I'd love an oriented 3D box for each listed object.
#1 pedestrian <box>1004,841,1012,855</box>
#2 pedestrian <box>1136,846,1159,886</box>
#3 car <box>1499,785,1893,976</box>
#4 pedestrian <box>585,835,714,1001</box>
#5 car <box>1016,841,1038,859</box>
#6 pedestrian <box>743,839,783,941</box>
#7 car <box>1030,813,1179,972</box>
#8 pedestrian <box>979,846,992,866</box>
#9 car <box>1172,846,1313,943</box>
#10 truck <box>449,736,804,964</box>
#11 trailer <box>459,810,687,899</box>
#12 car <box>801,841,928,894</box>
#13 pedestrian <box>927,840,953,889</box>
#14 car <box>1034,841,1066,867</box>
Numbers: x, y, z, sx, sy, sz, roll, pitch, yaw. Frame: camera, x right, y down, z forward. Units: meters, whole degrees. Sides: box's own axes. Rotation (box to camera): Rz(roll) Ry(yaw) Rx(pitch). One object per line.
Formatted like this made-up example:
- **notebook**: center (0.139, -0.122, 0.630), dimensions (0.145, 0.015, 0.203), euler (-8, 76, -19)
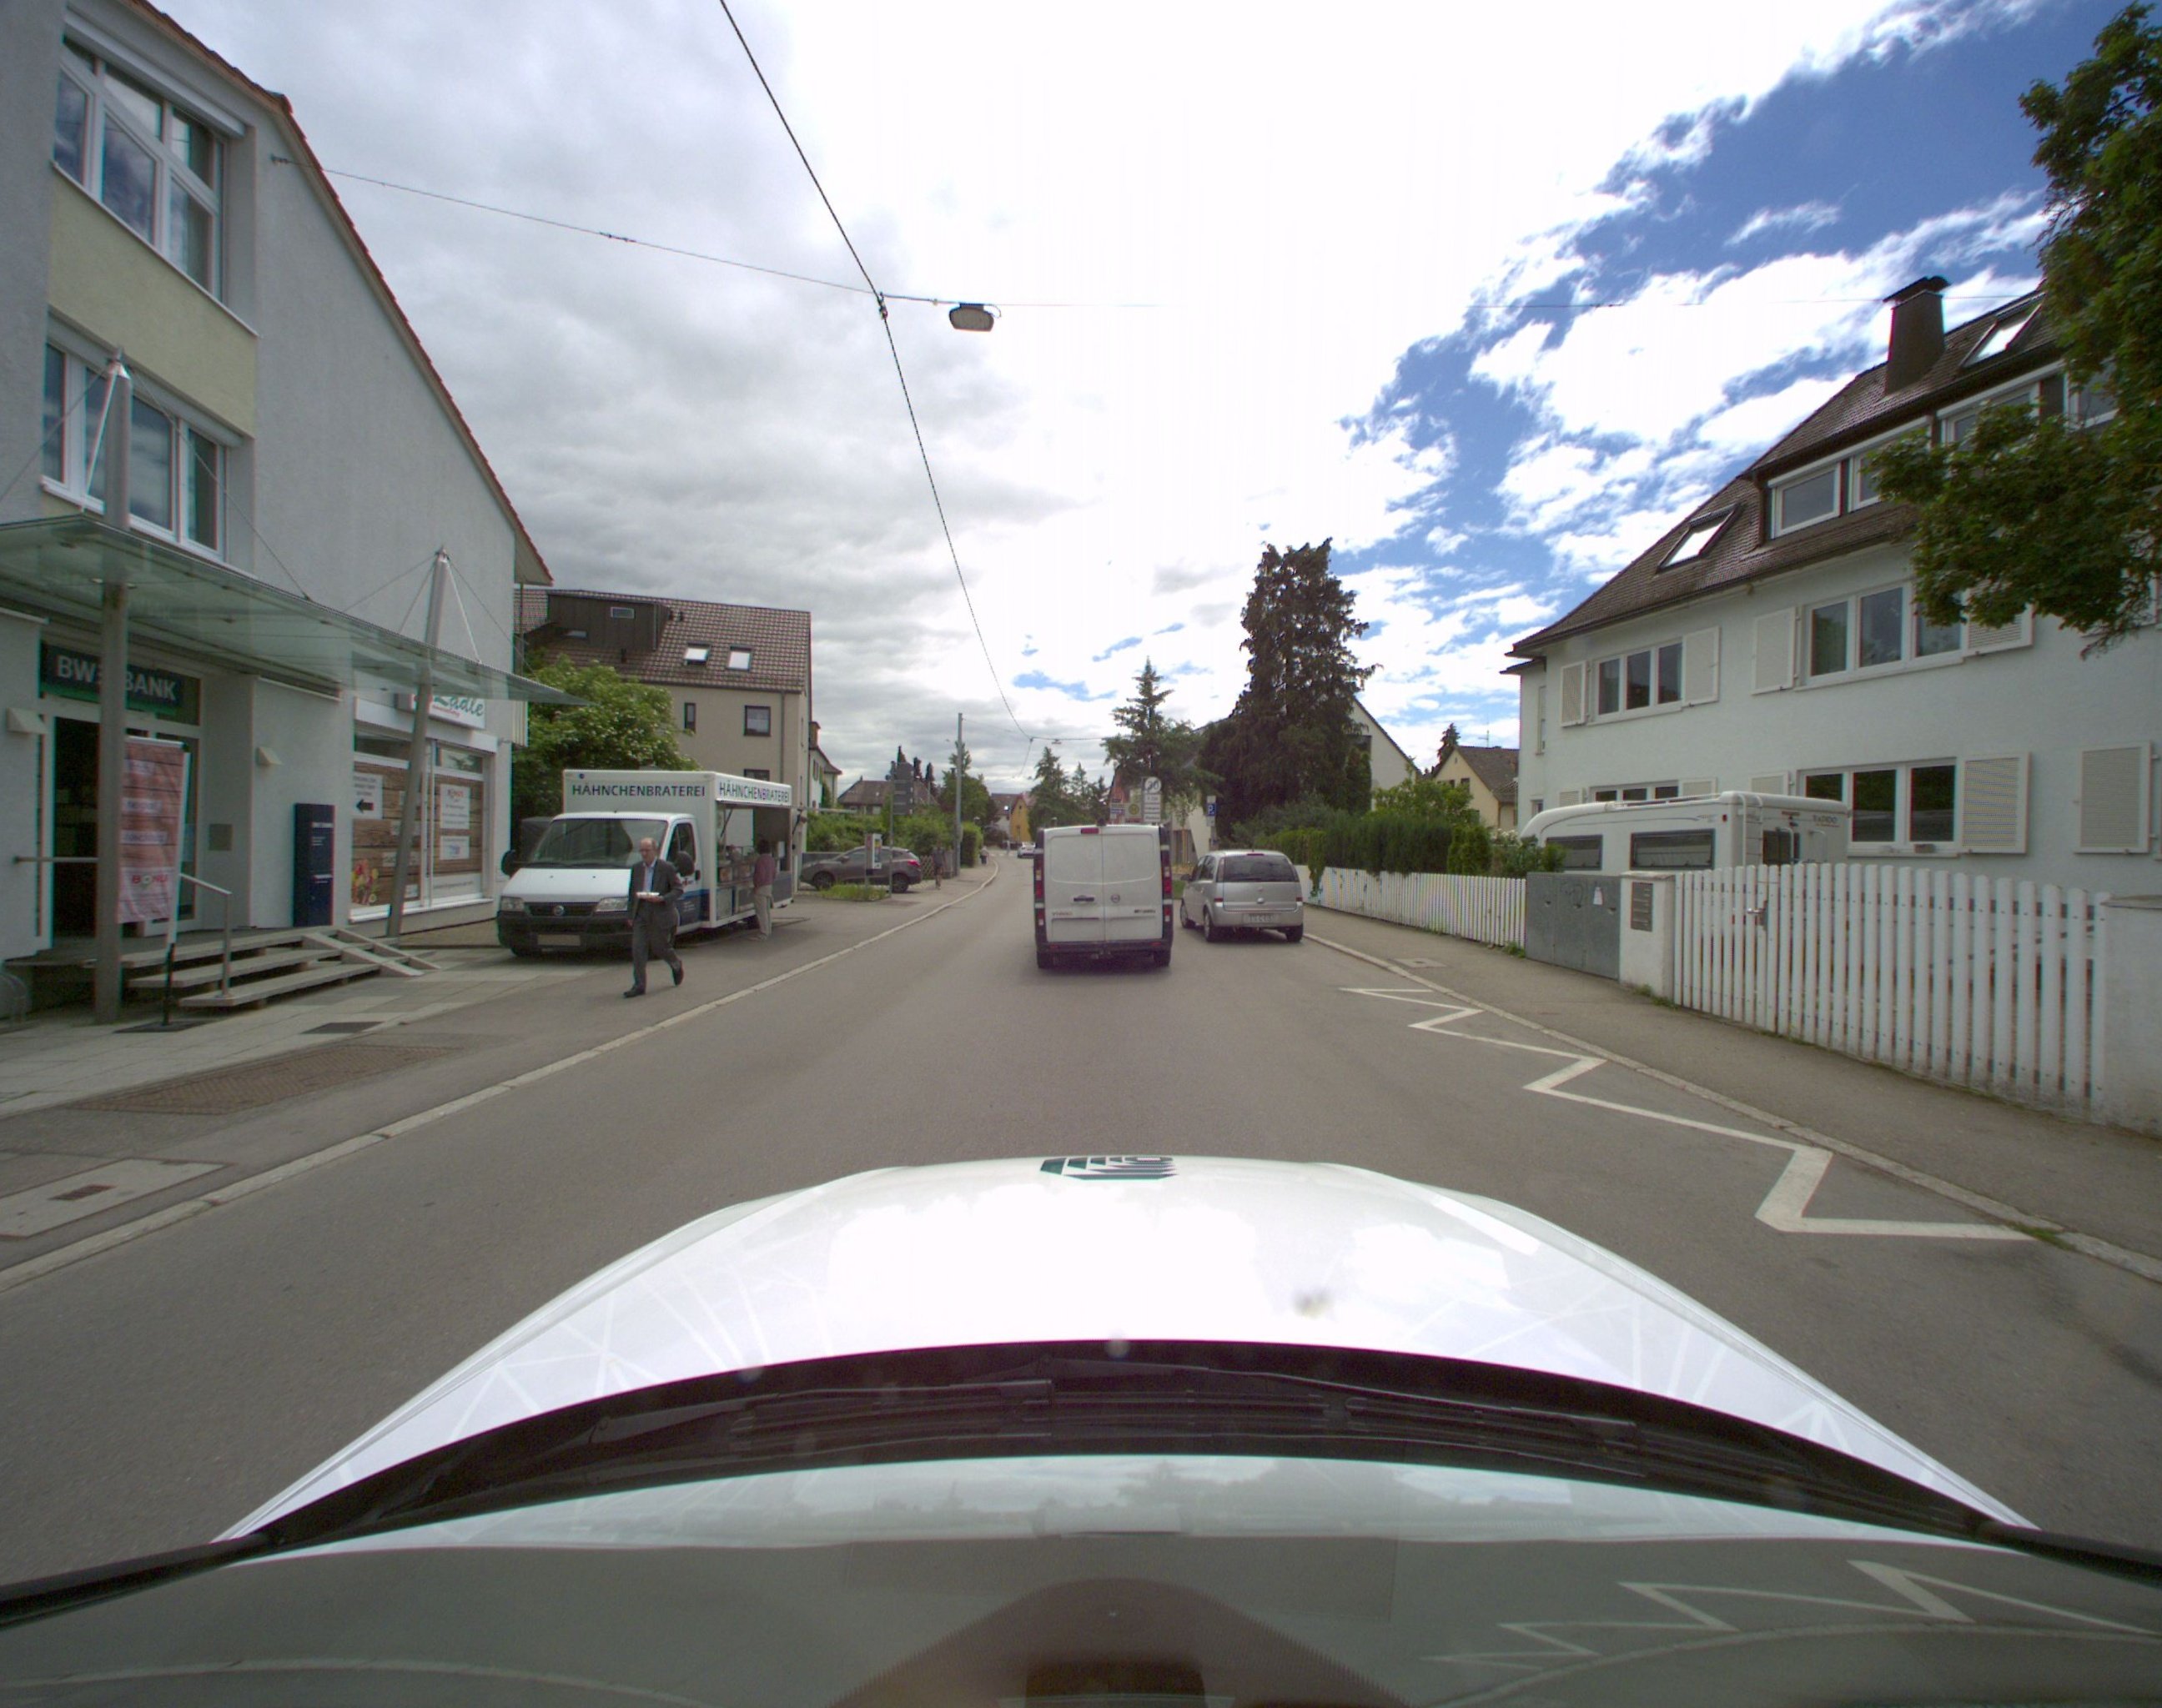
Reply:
- **pedestrian**: center (-8.480, -0.705, 94.791), dimensions (0.805, 1.609, 0.625), euler (3, 0, -12)
- **pedestrian**: center (2.857, 0.514, 35.156), dimensions (0.852, 1.645, 0.883), euler (3, 0, -1)
- **car**: center (10.274, 0.392, 14.346), dimensions (2.498, 2.682, 5.168), euler (3, 0, -10)
- **pedestrian**: center (-4.736, 0.664, 9.022), dimensions (0.720, 1.686, 1.109), euler (3, 0, 1)
- **car**: center (-5.537, -0.407, 83.284), dimensions (1.992, 1.782, 3.990), euler (-1, 0, -7)
- **pedestrian**: center (-5.454, 0.607, 14.001), dimensions (0.400, 1.695, 0.596), euler (3, 0, -4)
- **car**: center (0.189, 0.492, 12.563), dimensions (1.911, 2.002, 4.432), euler (0, 0, -3)
- **pedestrian**: center (-7.518, 0.141, 63.959), dimensions (0.880, 1.485, 0.451), euler (3, 0, -27)
- **car**: center (2.928, 0.674, 15.600), dimensions (1.755, 1.582, 4.015), euler (-1, 0, -2)
- **truck**: center (-6.847, -0.041, 13.613), dimensions (2.468, 2.840, 6.699), euler (1, 0, -4)
- **trailer**: center (-13.492, 0.003, 21.868), dimensions (4.854, 2.080, 1.701), euler (3, 1, -6)
- **car**: center (-7.935, 0.490, 30.076), dimensions (4.316, 1.695, 1.790), euler (3, 0, -14)
- **pedestrian**: center (-5.732, 0.422, 33.232), dimensions (0.730, 1.946, 1.218), euler (3, 0, 1)
- **car**: center (-2.295, 0.008, 59.432), dimensions (1.992, 1.848, 3.990), euler (0, 0, -7)
